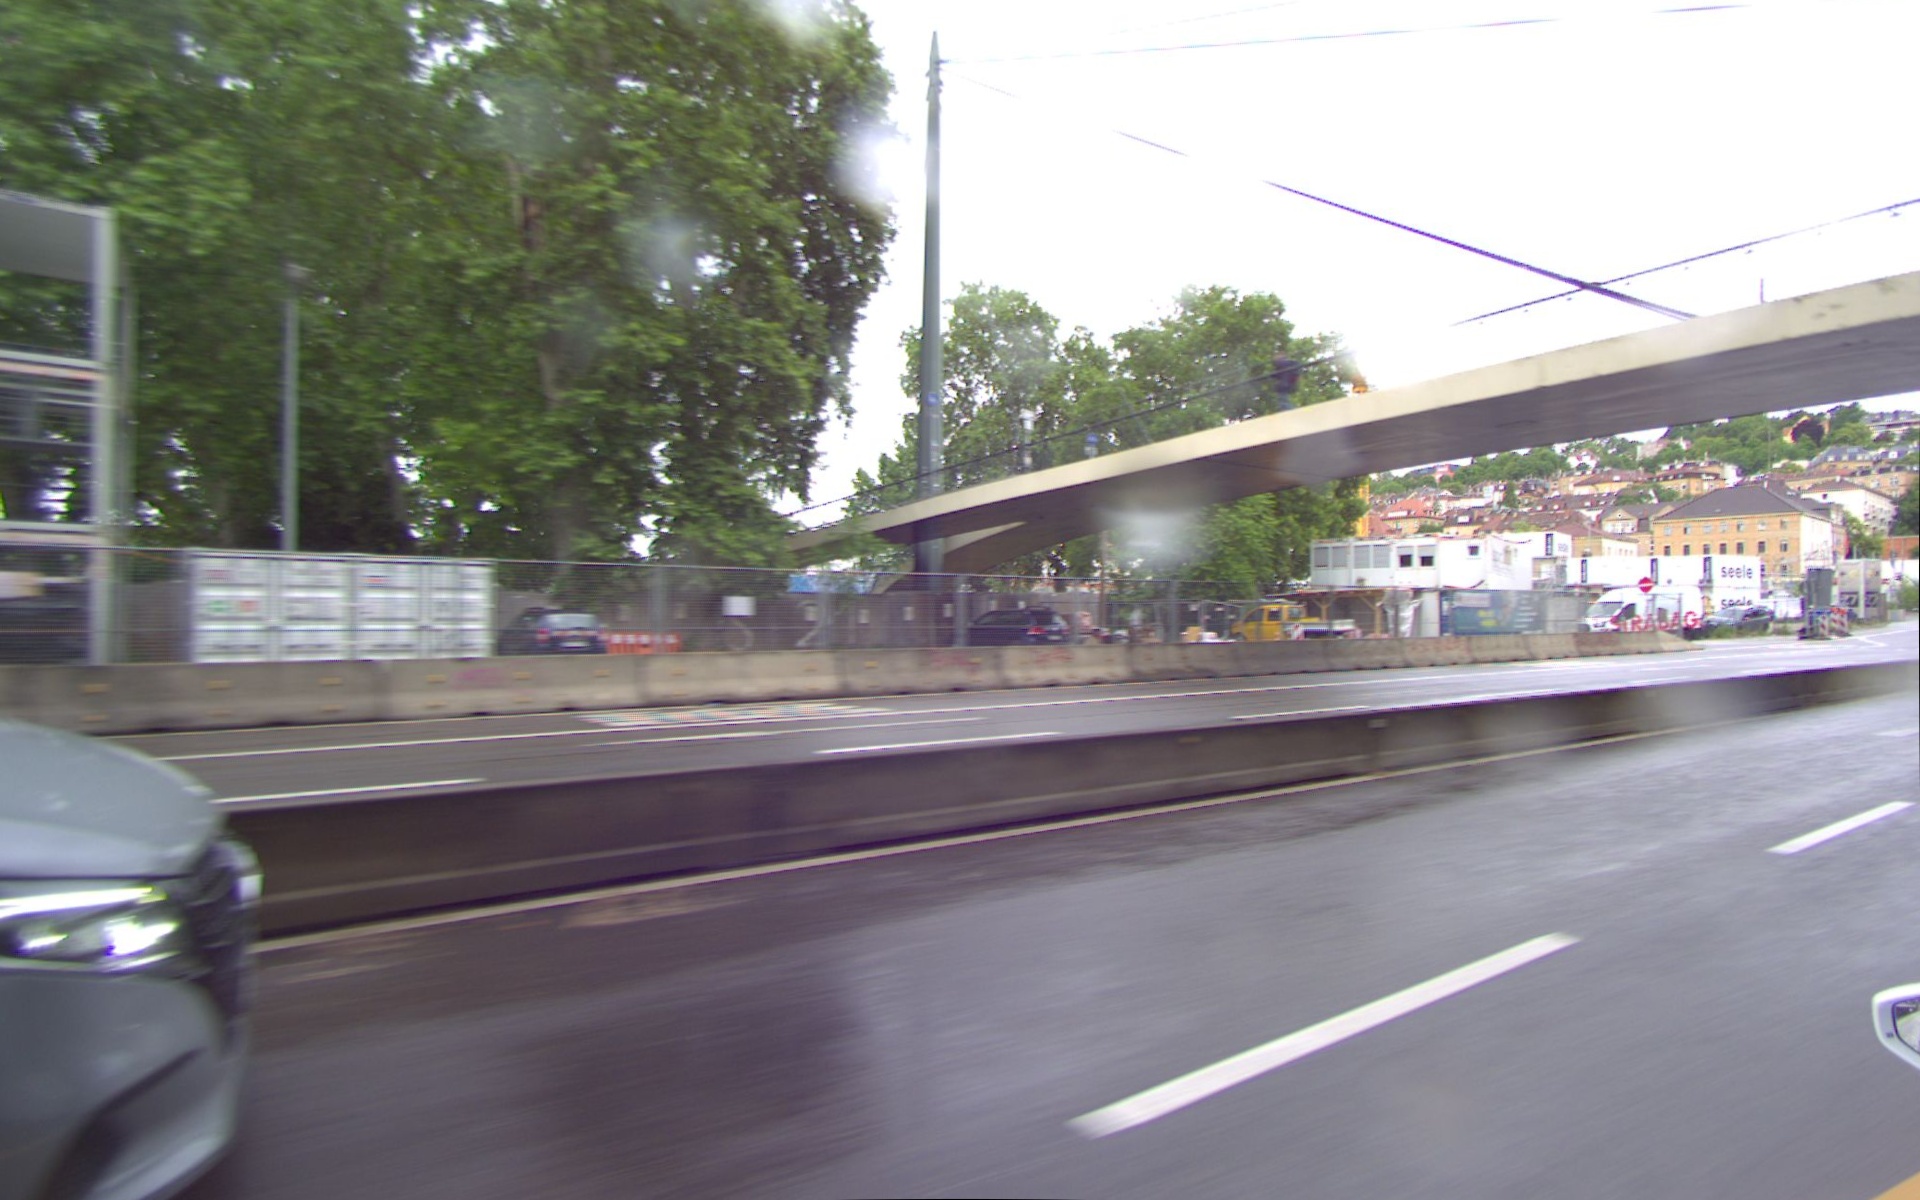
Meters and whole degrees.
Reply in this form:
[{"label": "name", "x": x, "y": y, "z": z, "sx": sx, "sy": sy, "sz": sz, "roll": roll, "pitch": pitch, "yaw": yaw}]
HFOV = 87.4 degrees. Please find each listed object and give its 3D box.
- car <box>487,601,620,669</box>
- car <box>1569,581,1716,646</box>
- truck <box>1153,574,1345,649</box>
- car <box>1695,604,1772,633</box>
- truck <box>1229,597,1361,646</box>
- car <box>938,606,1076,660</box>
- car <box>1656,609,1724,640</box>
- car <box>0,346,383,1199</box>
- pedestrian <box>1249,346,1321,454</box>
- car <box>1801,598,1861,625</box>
[{"label": "car", "x": -9.702, "y": 0.833, "z": 23.836, "sx": 1.982, "sy": 1.462, "sz": 3.958, "roll": 2, "pitch": -3, "yaw": -37}, {"label": "car", "x": 31.752, "y": 0.661, "z": 46.808, "sx": 5.943, "sy": 2.913, "sz": 1.997, "roll": 1, "pitch": -2, "yaw": -10}, {"label": "truck", "x": 10.332, "y": 0.482, "z": 36.299, "sx": 2.675, "sy": 2.484, "sz": 6.217, "roll": 2, "pitch": -3, "yaw": -43}, {"label": "car", "x": 45.040, "y": 1.121, "z": 58.463, "sx": 4.623, "sy": 1.586, "sz": 1.755, "roll": 2, "pitch": -2, "yaw": -27}, {"label": "truck", "x": 14.739, "y": 0.979, "z": 44.455, "sx": 2.146, "sy": 2.040, "sz": 5.203, "roll": 1, "pitch": -2, "yaw": -40}, {"label": "car", "x": 1.481, "y": 1.077, "z": 32.750, "sx": 1.946, "sy": 1.649, "sz": 4.379, "roll": 2, "pitch": -2, "yaw": -45}, {"label": "car", "x": 40.730, "y": 1.340, "z": 56.025, "sx": 4.131, "sy": 1.586, "sz": 1.751, "roll": -1, "pitch": 0, "yaw": -34}, {"label": "car", "x": -3.880, "y": 0.469, "z": 1.229, "sx": 5.308, "sy": 1.881, "sz": 1.979, "roll": 1, "pitch": 0, "yaw": -37}, {"label": "pedestrian", "x": 7.326, "y": -4.479, "z": 22.684, "sx": 1.046, "sy": 2.087, "sz": 1.143, "roll": 1, "pitch": -2, "yaw": -28}, {"label": "car", "x": 56.698, "y": 0.745, "z": 65.370, "sx": 3.957, "sy": 1.643, "sz": 1.982, "roll": -1, "pitch": 0, "yaw": -33}]
